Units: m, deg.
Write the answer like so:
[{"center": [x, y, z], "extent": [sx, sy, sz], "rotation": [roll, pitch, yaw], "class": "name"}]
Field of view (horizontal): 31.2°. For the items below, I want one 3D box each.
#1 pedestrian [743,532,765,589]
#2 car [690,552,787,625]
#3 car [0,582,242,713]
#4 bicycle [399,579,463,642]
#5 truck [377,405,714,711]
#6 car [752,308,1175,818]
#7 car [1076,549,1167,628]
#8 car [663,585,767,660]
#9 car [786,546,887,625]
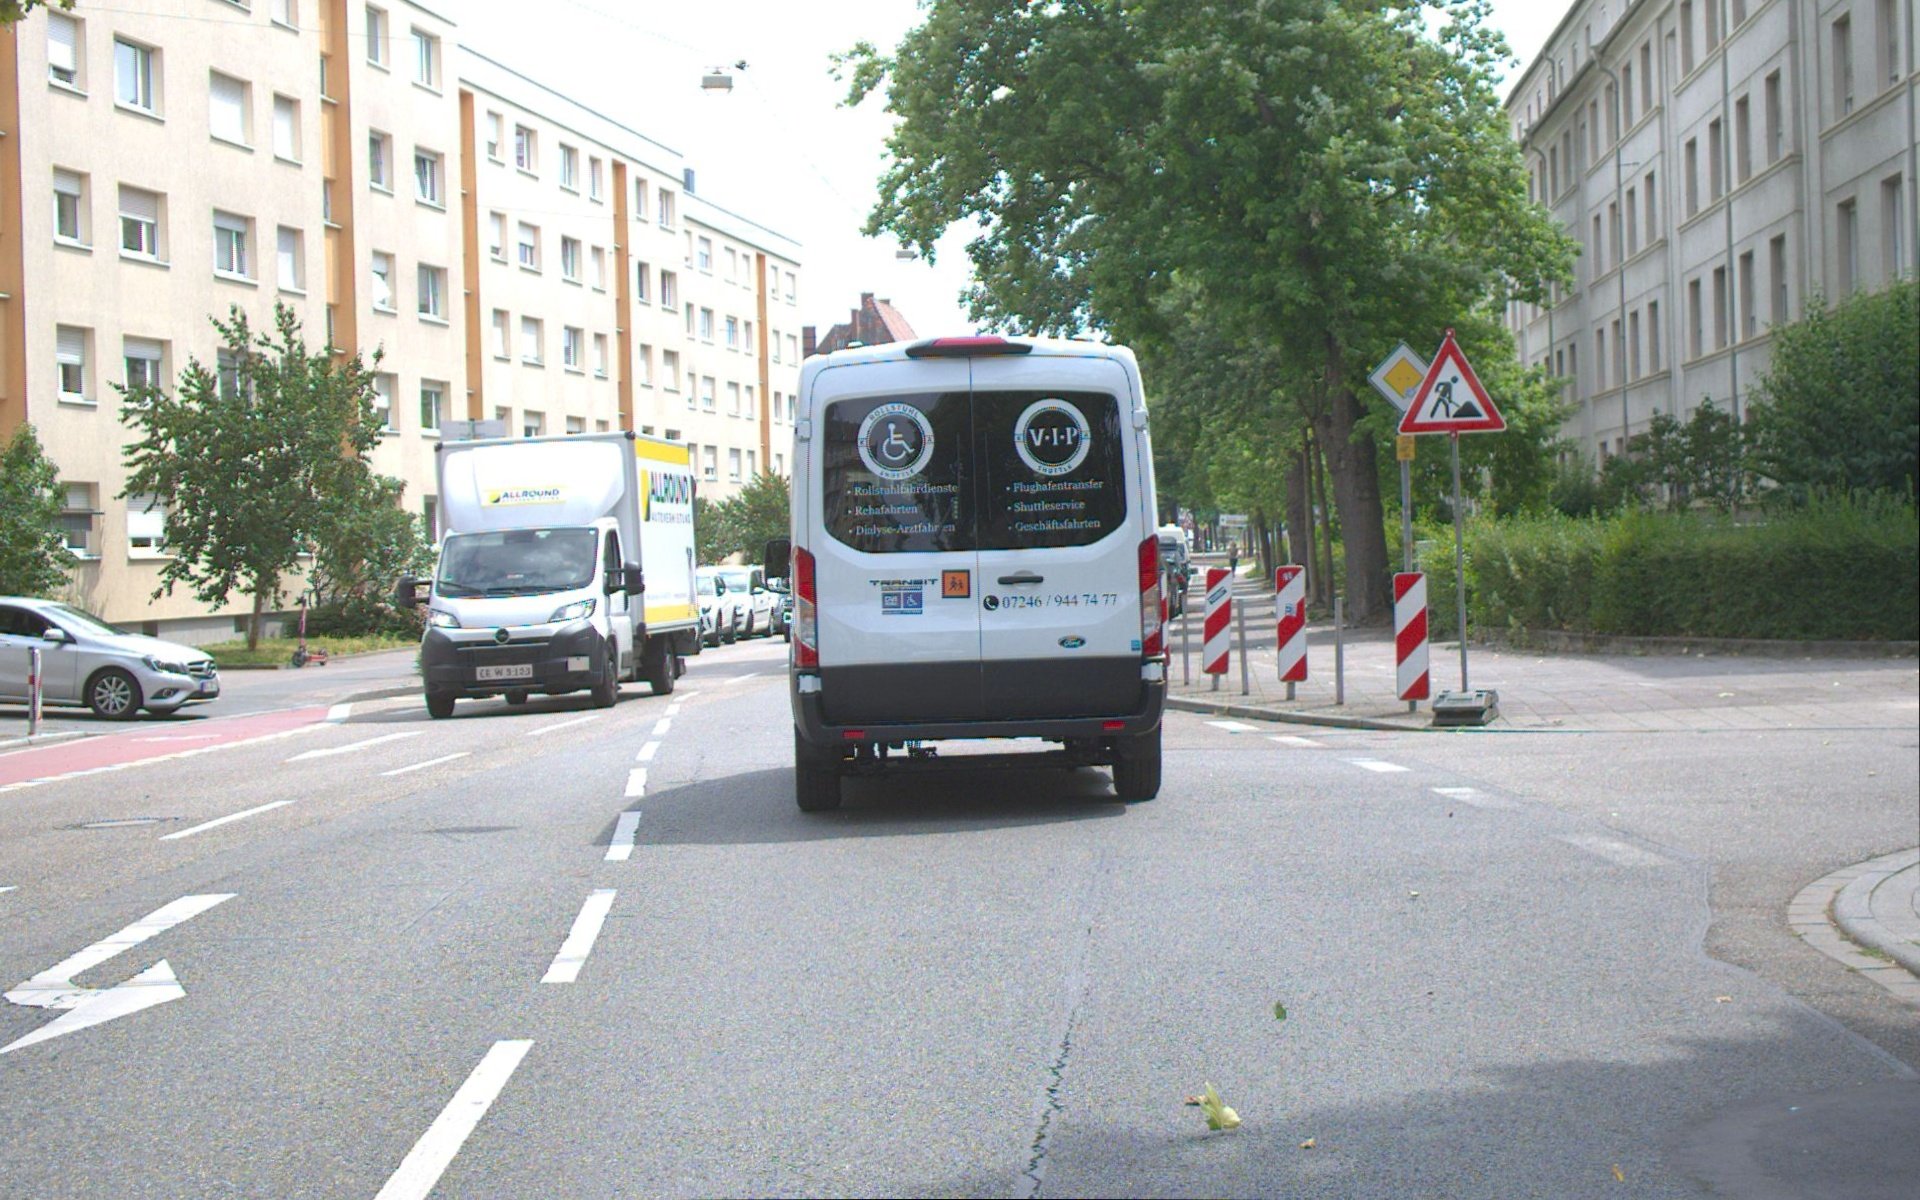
[{"center": [-6.641, -1.276, 111.024], "extent": [0.619, 1.807, 0.899], "rotation": [-1, 1, 2], "class": "pedestrian"}, {"center": [-5.032, -0.292, 78.574], "extent": [1.697, 1.607, 4.477], "rotation": [0, 1, 3], "class": "car"}, {"center": [-11.033, 0.539, 41.683], "extent": [4.172, 1.445, 1.849], "rotation": [2, 1, 6], "class": "car"}, {"center": [-11.191, 0.220, 72.835], "extent": [0.579, 1.247, 1.932], "rotation": [-1, 2, 15], "class": "bicycle"}, {"center": [-4.654, -0.504, 39.994], "extent": [2.541, 3.097, 7.020], "rotation": [-3, 1, 3], "class": "truck"}, {"center": [0.116, -0.219, 19.943], "extent": [2.070, 2.531, 4.634], "rotation": [-2, 1, 2], "class": "car"}, {"center": [3.148, -0.245, 66.891], "extent": [1.697, 1.445, 4.101], "rotation": [-1, 1, 3], "class": "car"}, {"center": [-5.079, 0.444, 71.594], "extent": [1.708, 1.468, 3.989], "rotation": [0, 1, 3], "class": "car"}, {"center": [-2.583, -0.329, 72.629], "extent": [1.697, 1.513, 4.000], "rotation": [-3, 1, 3], "class": "car"}]
